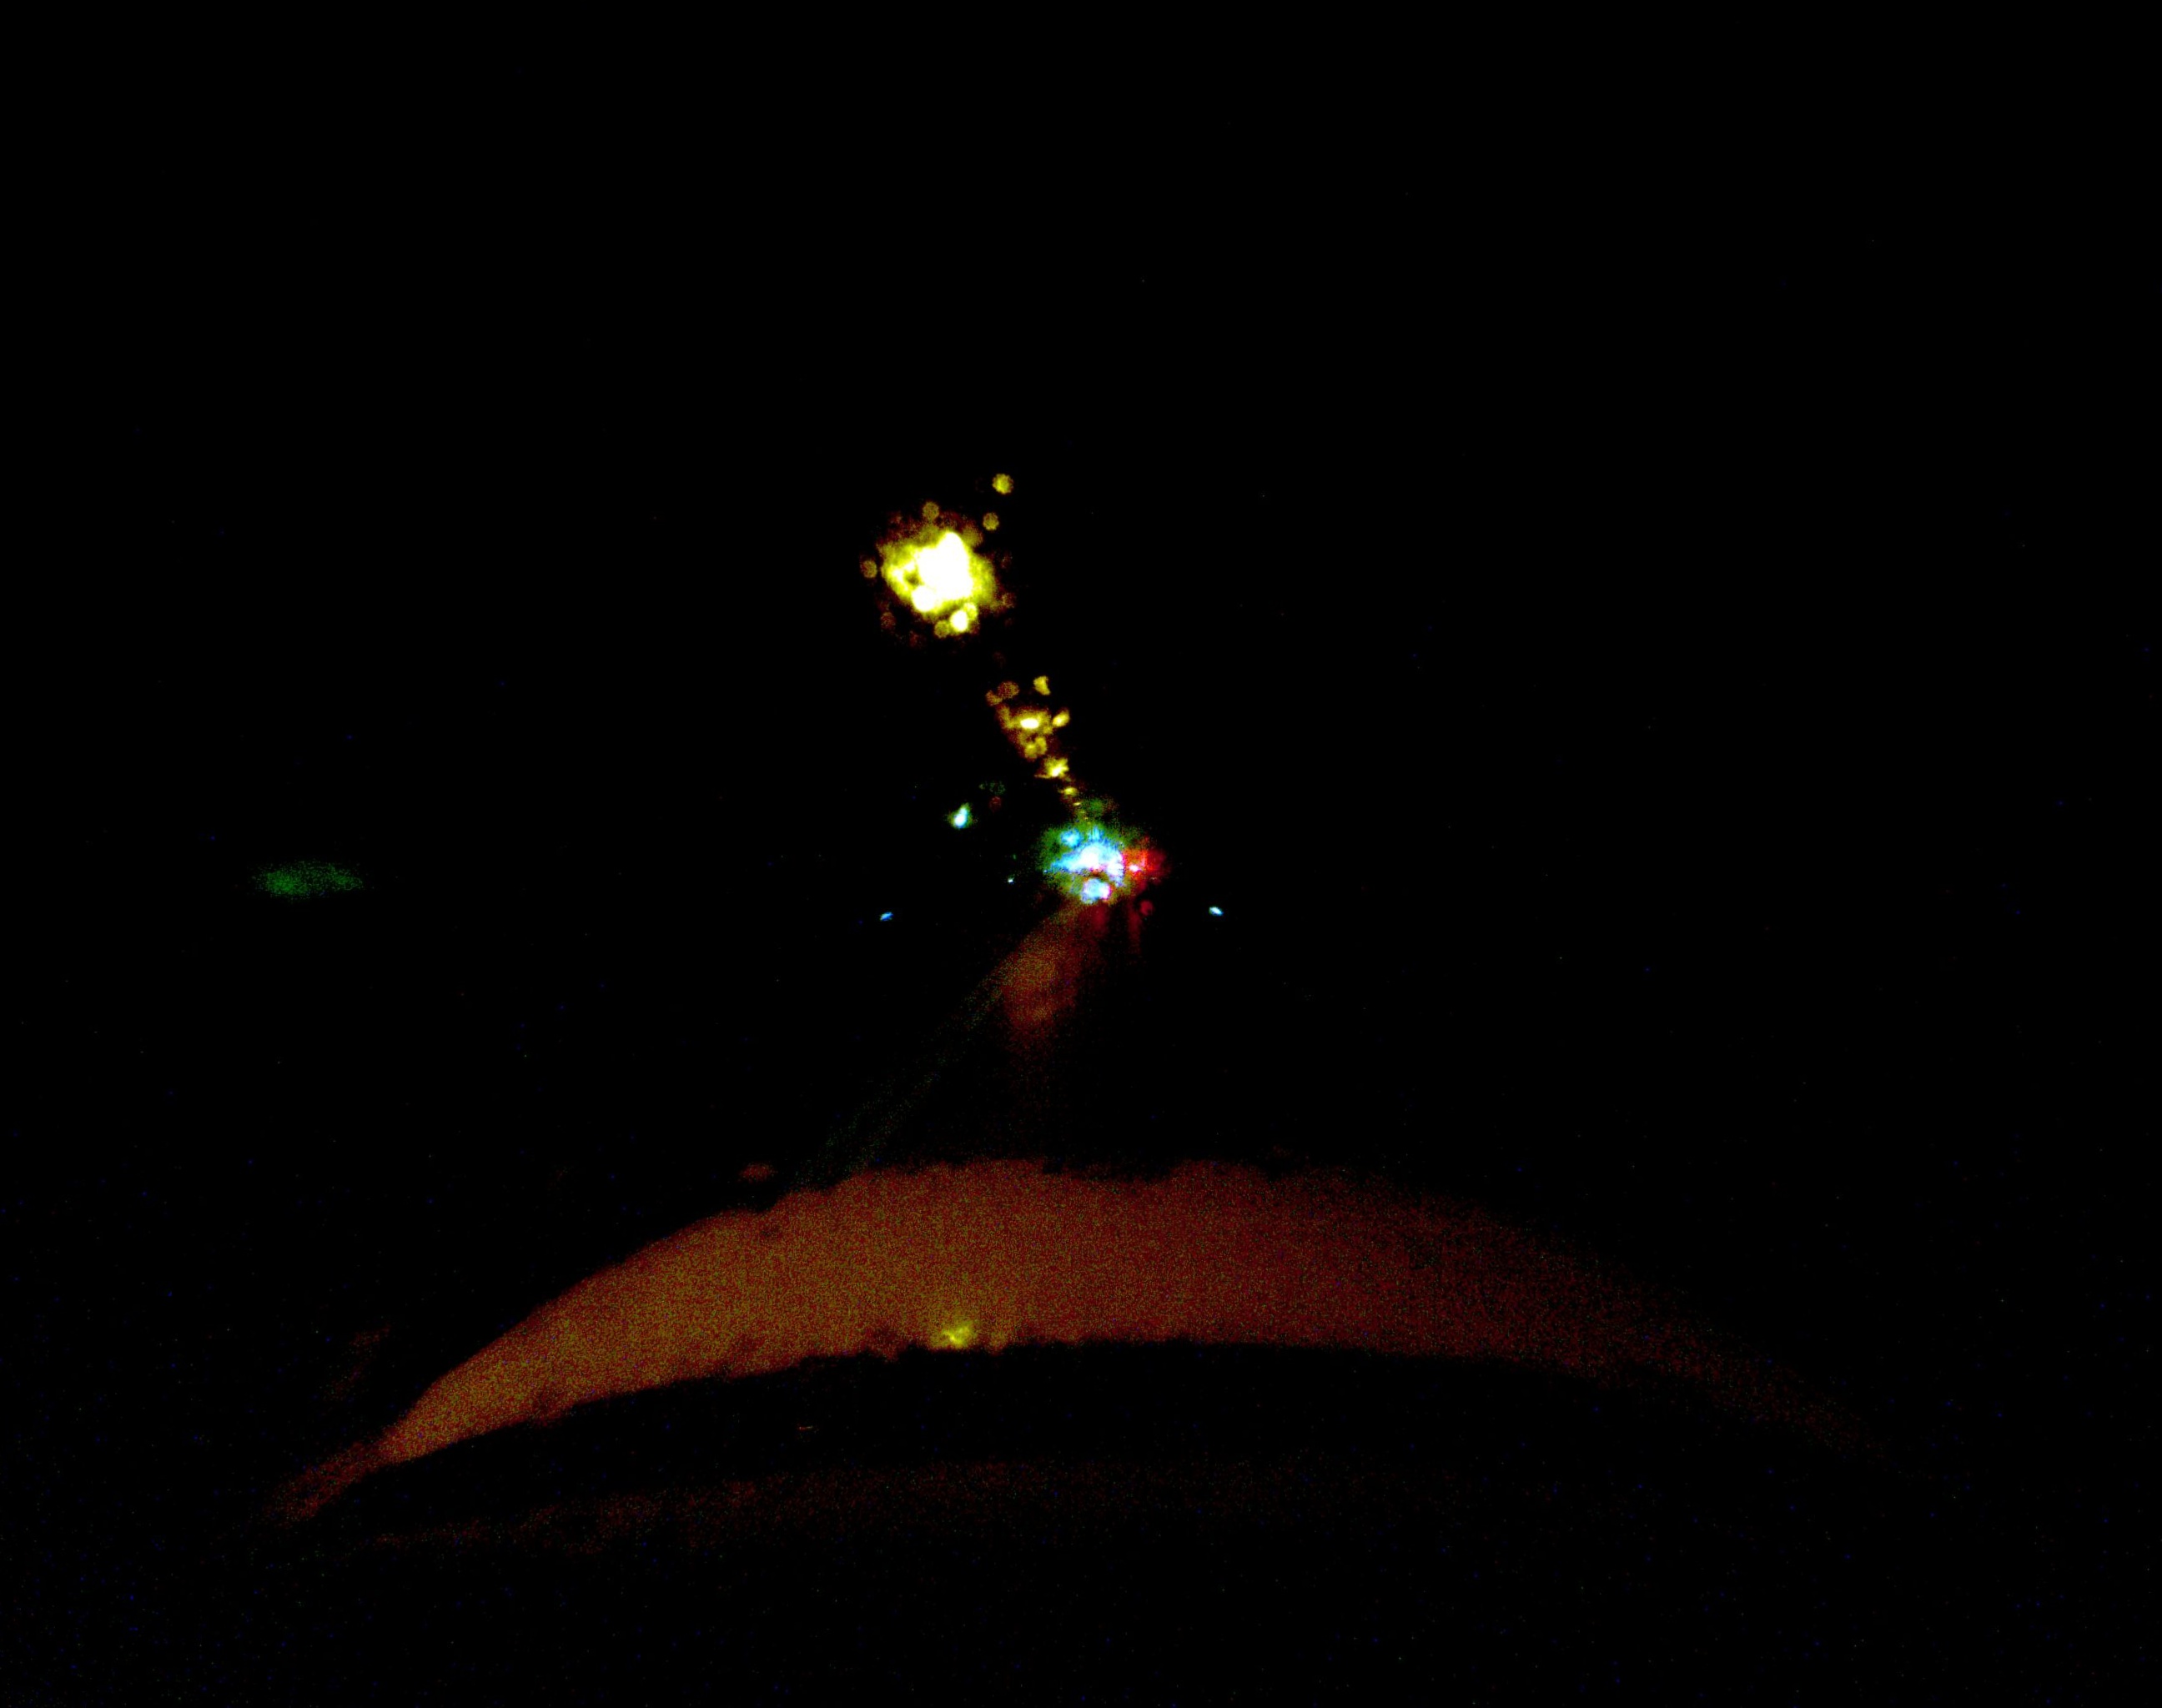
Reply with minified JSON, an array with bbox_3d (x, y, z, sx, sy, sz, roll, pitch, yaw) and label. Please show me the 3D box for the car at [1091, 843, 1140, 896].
[{"bbox_3d":[1.268,0.497,29.915,1.629,1.757,4.148,-2,1,2],"label":"car"}]
